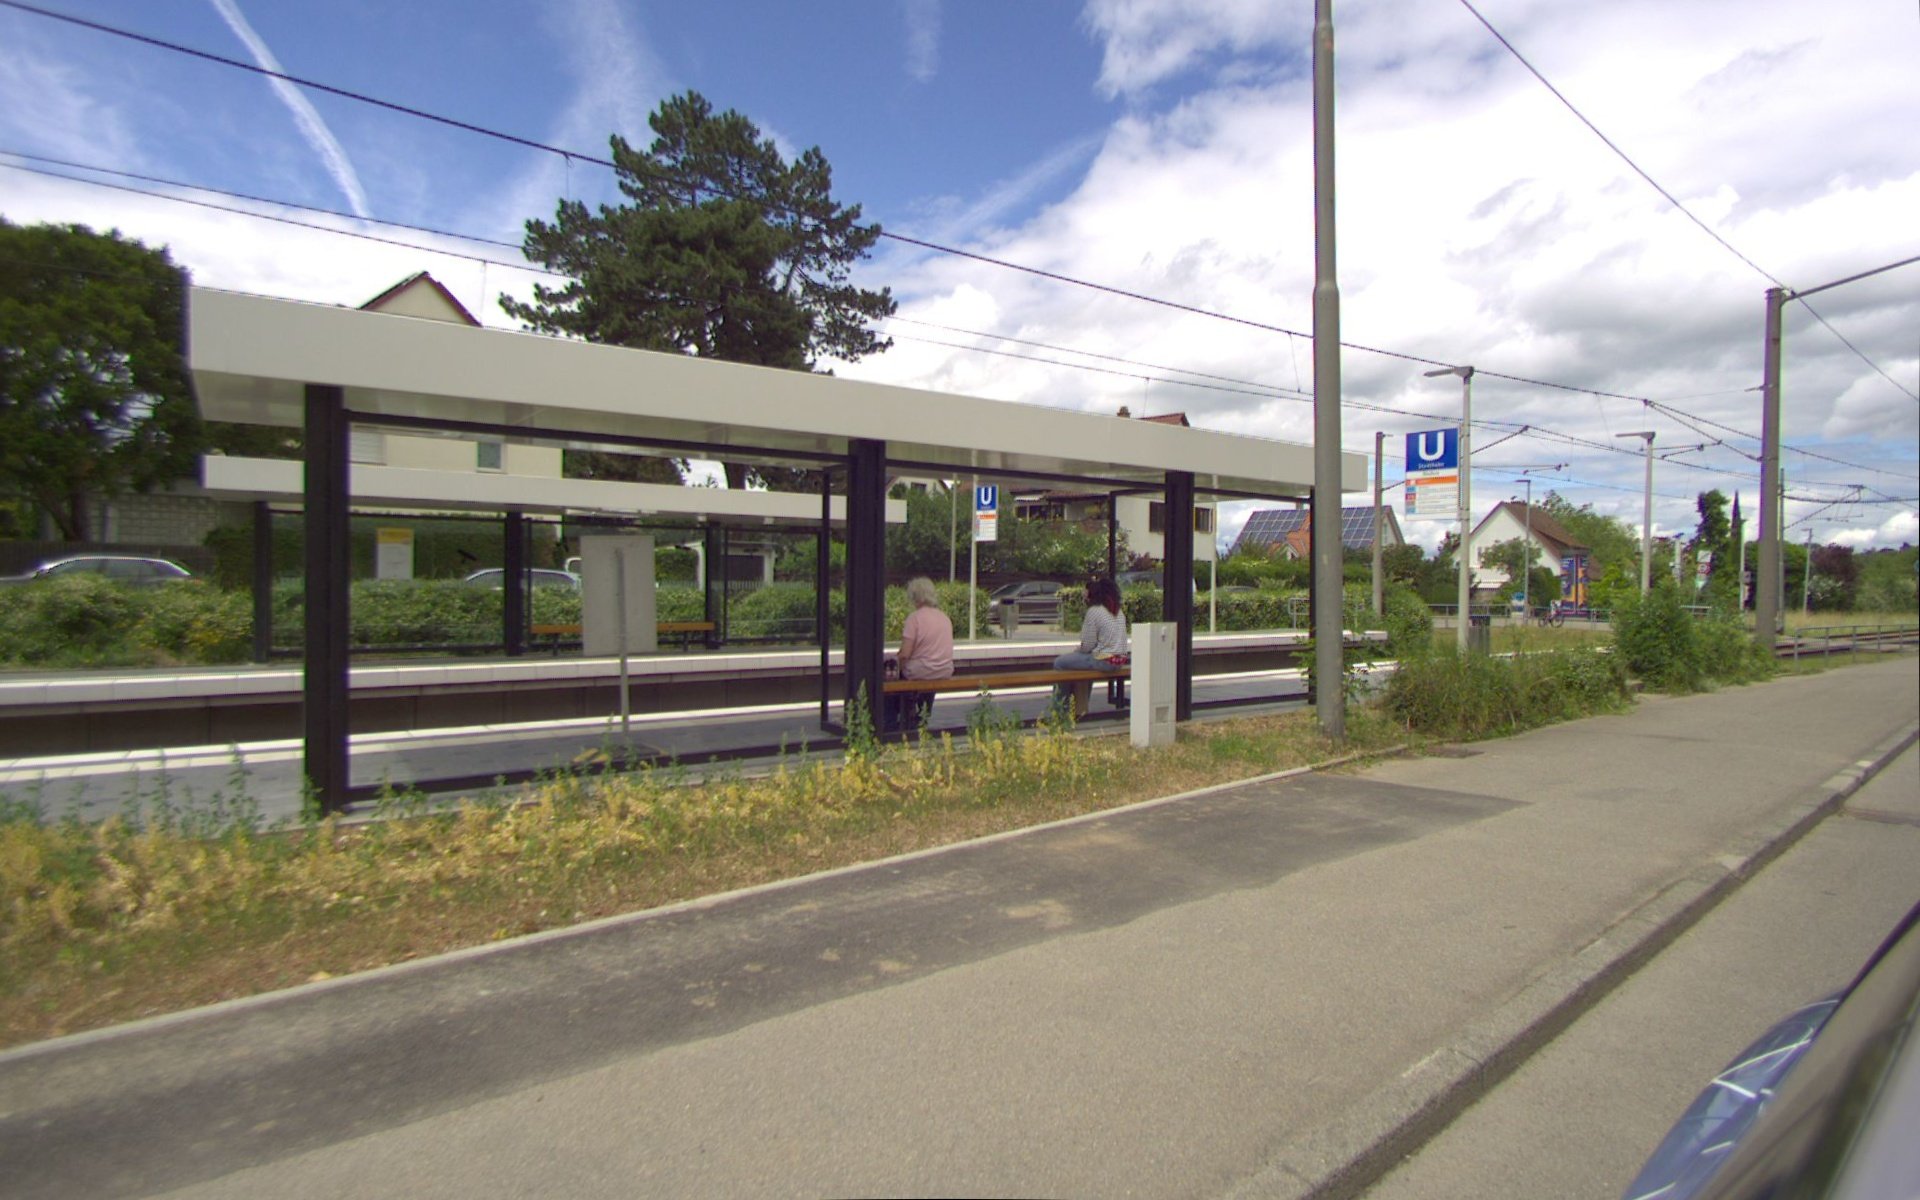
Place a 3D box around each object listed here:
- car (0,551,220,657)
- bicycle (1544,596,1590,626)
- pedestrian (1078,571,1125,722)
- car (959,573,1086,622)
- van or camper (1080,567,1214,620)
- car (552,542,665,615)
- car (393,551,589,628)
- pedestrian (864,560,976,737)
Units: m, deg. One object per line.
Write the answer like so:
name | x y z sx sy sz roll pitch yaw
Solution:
car | -17.030 0.058 19.958 3.860 1.938 1.737 -1 0 -35
bicycle | 26.795 0.489 44.657 2.491 1.055 0.542 4 12 -35
pedestrian | 1.314 0.417 9.433 0.389 1.360 0.487 0 3 4
car | 2.110 -0.092 33.877 3.924 1.541 1.890 0 1 -35
van or camper | 6.904 -0.251 37.123 4.951 1.849 1.912 0 1 -35
car | -10.629 -0.700 30.421 1.716 1.967 4.337 0 3 -41
car | -11.176 -0.239 24.229 3.930 1.683 1.779 0 0 -41
pedestrian | -0.336 0.380 8.429 0.726 1.397 0.583 1 0 -39
